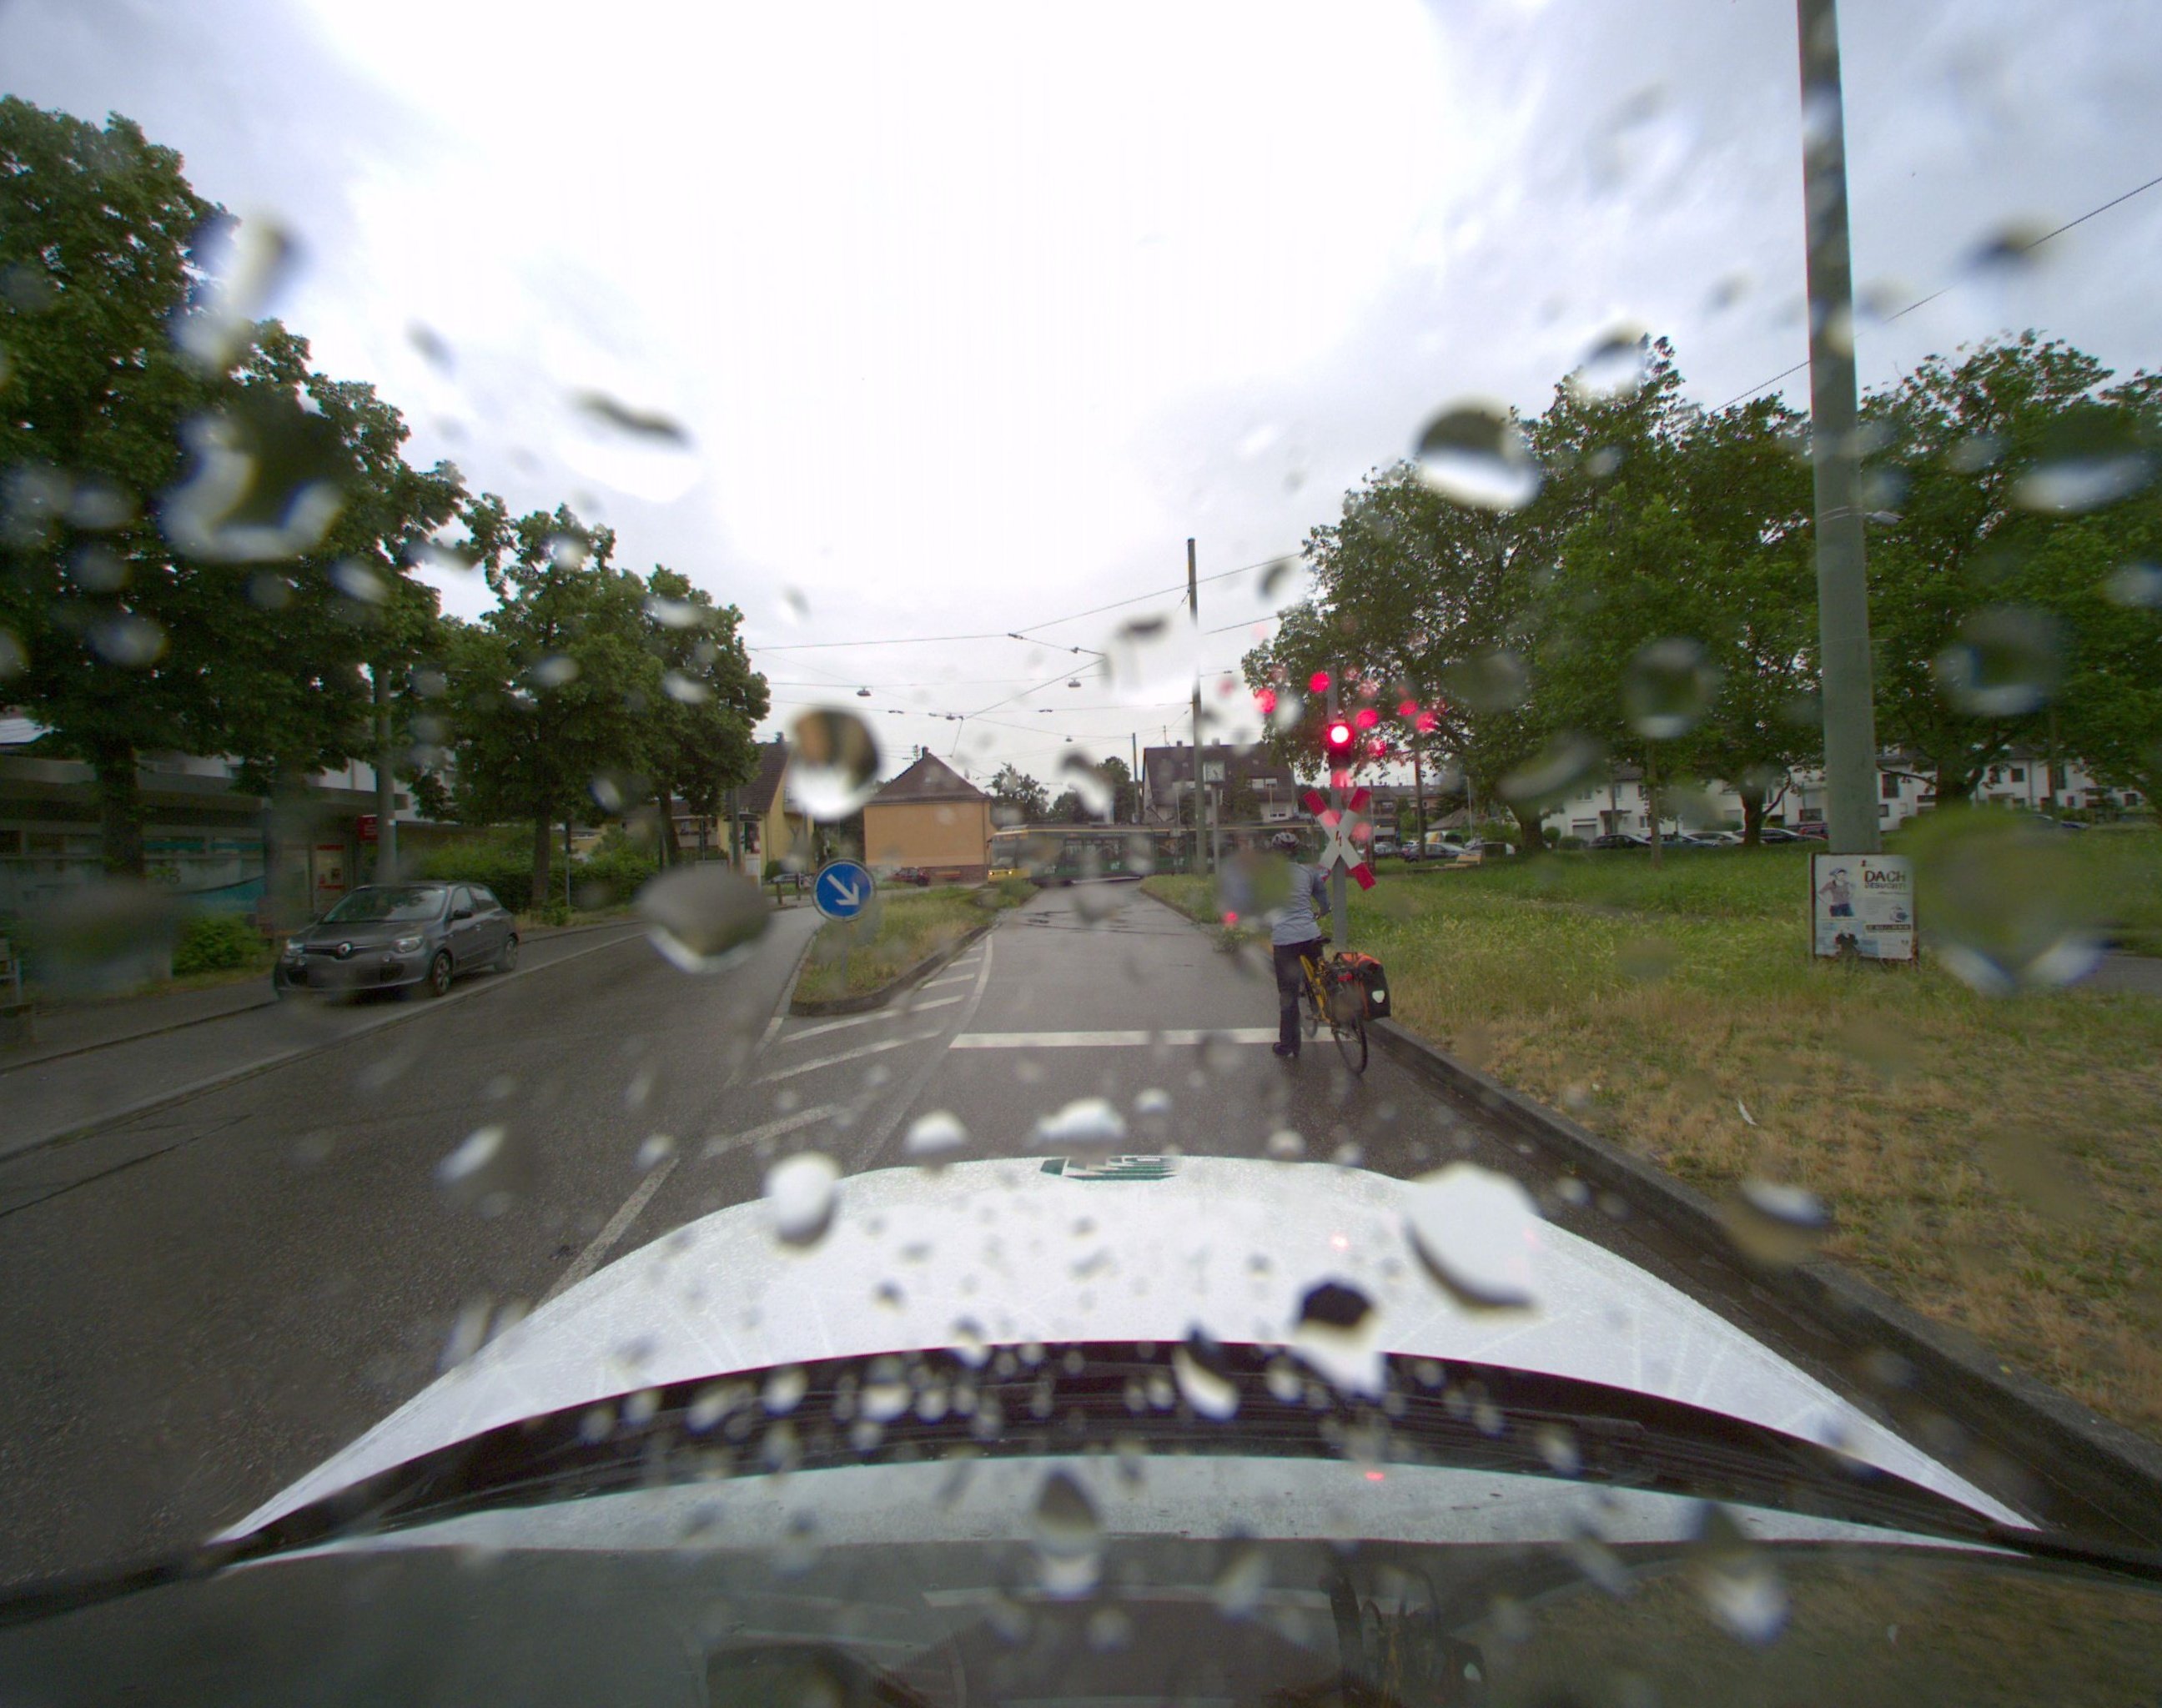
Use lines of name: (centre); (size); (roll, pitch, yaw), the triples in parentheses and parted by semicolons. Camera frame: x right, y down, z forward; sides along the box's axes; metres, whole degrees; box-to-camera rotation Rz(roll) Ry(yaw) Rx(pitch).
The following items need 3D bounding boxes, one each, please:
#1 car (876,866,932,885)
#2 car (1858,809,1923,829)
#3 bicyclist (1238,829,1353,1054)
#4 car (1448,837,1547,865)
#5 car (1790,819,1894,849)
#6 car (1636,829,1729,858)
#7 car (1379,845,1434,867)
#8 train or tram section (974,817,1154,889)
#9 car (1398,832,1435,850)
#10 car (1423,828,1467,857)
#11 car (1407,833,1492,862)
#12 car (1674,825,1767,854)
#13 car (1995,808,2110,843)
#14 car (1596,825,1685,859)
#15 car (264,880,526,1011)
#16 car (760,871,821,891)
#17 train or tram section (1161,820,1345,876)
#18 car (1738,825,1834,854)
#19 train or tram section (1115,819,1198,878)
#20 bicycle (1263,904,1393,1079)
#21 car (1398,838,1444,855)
car: (-13.661, 1.649, 63.073); (3.979, 1.456, 1.831); (0, -1, -5)
car: (69.999, -3.003, 70.453); (3.670, 1.660, 1.891); (0, -1, 2)
bicyclist: (1.633, 0.637, 6.324); (0.665, 1.626, 0.853); (0, -1, 1)
car: (20.505, -0.135, 40.249); (3.964, 1.285, 1.851); (0, -1, 9)
car: (42.628, -1.092, 45.683); (1.814, 1.495, 3.881); (0, -1, -27)
car: (33.203, -0.561, 44.992); (1.821, 1.495, 3.867); (0, -1, -44)
car: (25.896, 0.202, 64.954); (3.670, 1.701, 1.891); (0, -1, 2)
train or tram section: (-0.541, -0.175, 45.609); (2.734, 3.552, 12.282); (-1, 1, 39)
car: (39.120, -1.508, 95.046); (1.998, 2.014, 3.978); (0, -1, -16)
car: (32.575, -0.977, 72.995); (1.987, 2.443, 4.354); (0, -1, 1)
car: (20.259, -0.327, 44.902); (1.821, 1.495, 3.867); (0, -1, -44)
car: (35.706, -0.758, 45.522); (1.821, 1.495, 3.867); (0, -1, -44)
car: (54.635, -1.580, 45.860); (1.815, 1.765, 3.879); (0, -1, -29)
car: (30.541, -0.616, 44.534); (1.821, 1.798, 3.721); (0, -1, -44)
car: (-9.682, 1.175, 11.879); (1.621, 1.496, 3.645); (0, -1, -18)
car: (-22.106, 2.028, 62.028); (3.979, 1.456, 1.831); (0, -1, -5)
train or tram section: (11.955, -0.454, 55.856); (13.146, 3.553, 2.748); (-1, 0, -23)
car: (39.265, -0.785, 45.409); (1.821, 1.495, 3.867); (0, -1, -44)
train or tram section: (4.873, -0.332, 51.978); (2.735, 3.553, 5.018); (-1, 0, 44)
bicycle: (1.794, 0.946, 6.139); (0.444, 1.004, 1.728); (-2, 0, 1)
car: (35.425, -0.787, 84.947); (3.971, 1.640, 1.847); (0, -1, 2)
